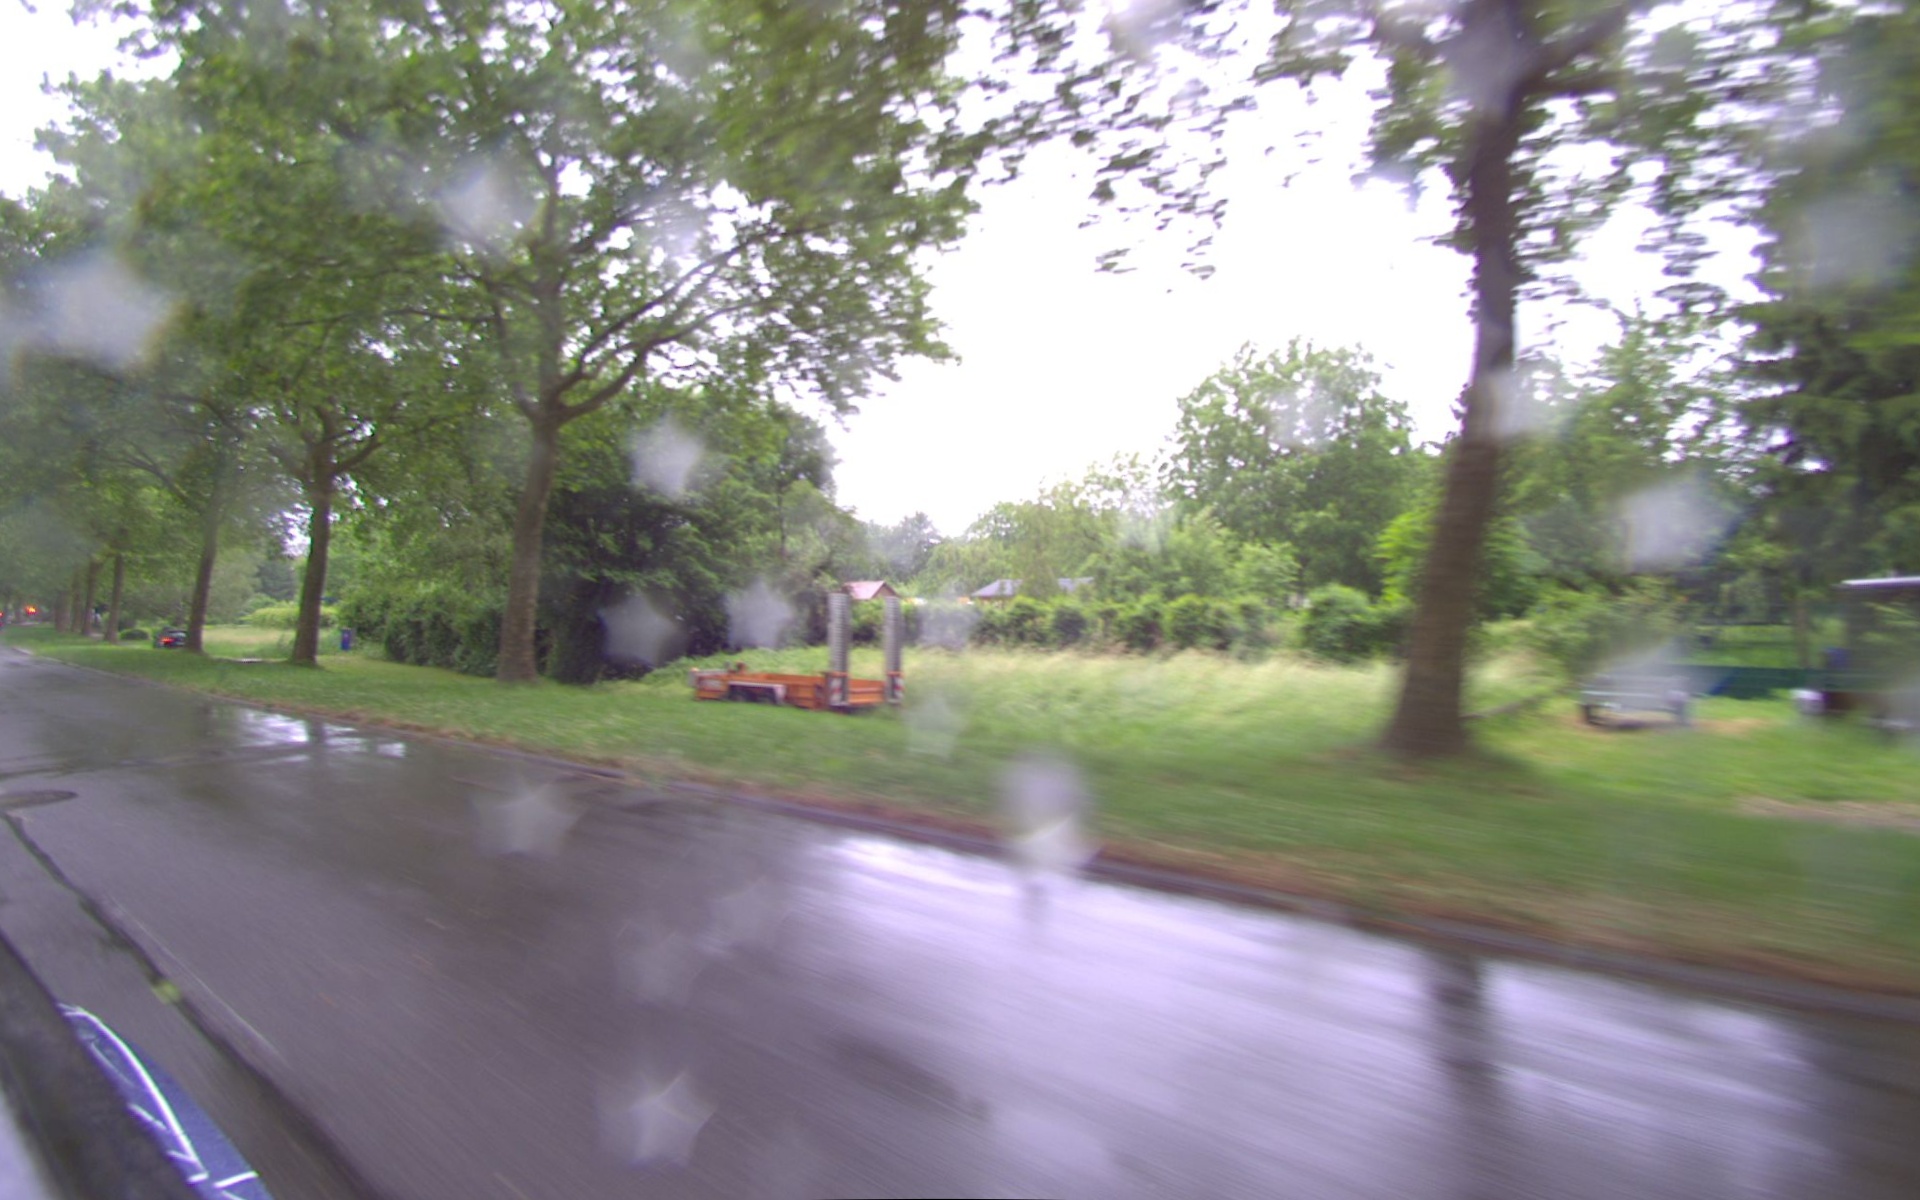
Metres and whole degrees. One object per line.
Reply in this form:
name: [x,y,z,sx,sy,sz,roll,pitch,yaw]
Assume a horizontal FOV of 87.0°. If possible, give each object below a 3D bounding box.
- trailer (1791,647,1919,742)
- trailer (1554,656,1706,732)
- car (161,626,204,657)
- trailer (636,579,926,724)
trailer: [14.258,1.373,15.461,2.380,1.040,4.273,-1,0,39]
trailer: [11.353,1.525,17.086,1.768,0.952,3.043,-1,0,41]
car: [-47.127,2.469,61.429,1.868,1.695,4.010,-1,0,-35]
trailer: [-4.073,0.978,22.021,6.652,2.684,2.768,-1,0,43]
